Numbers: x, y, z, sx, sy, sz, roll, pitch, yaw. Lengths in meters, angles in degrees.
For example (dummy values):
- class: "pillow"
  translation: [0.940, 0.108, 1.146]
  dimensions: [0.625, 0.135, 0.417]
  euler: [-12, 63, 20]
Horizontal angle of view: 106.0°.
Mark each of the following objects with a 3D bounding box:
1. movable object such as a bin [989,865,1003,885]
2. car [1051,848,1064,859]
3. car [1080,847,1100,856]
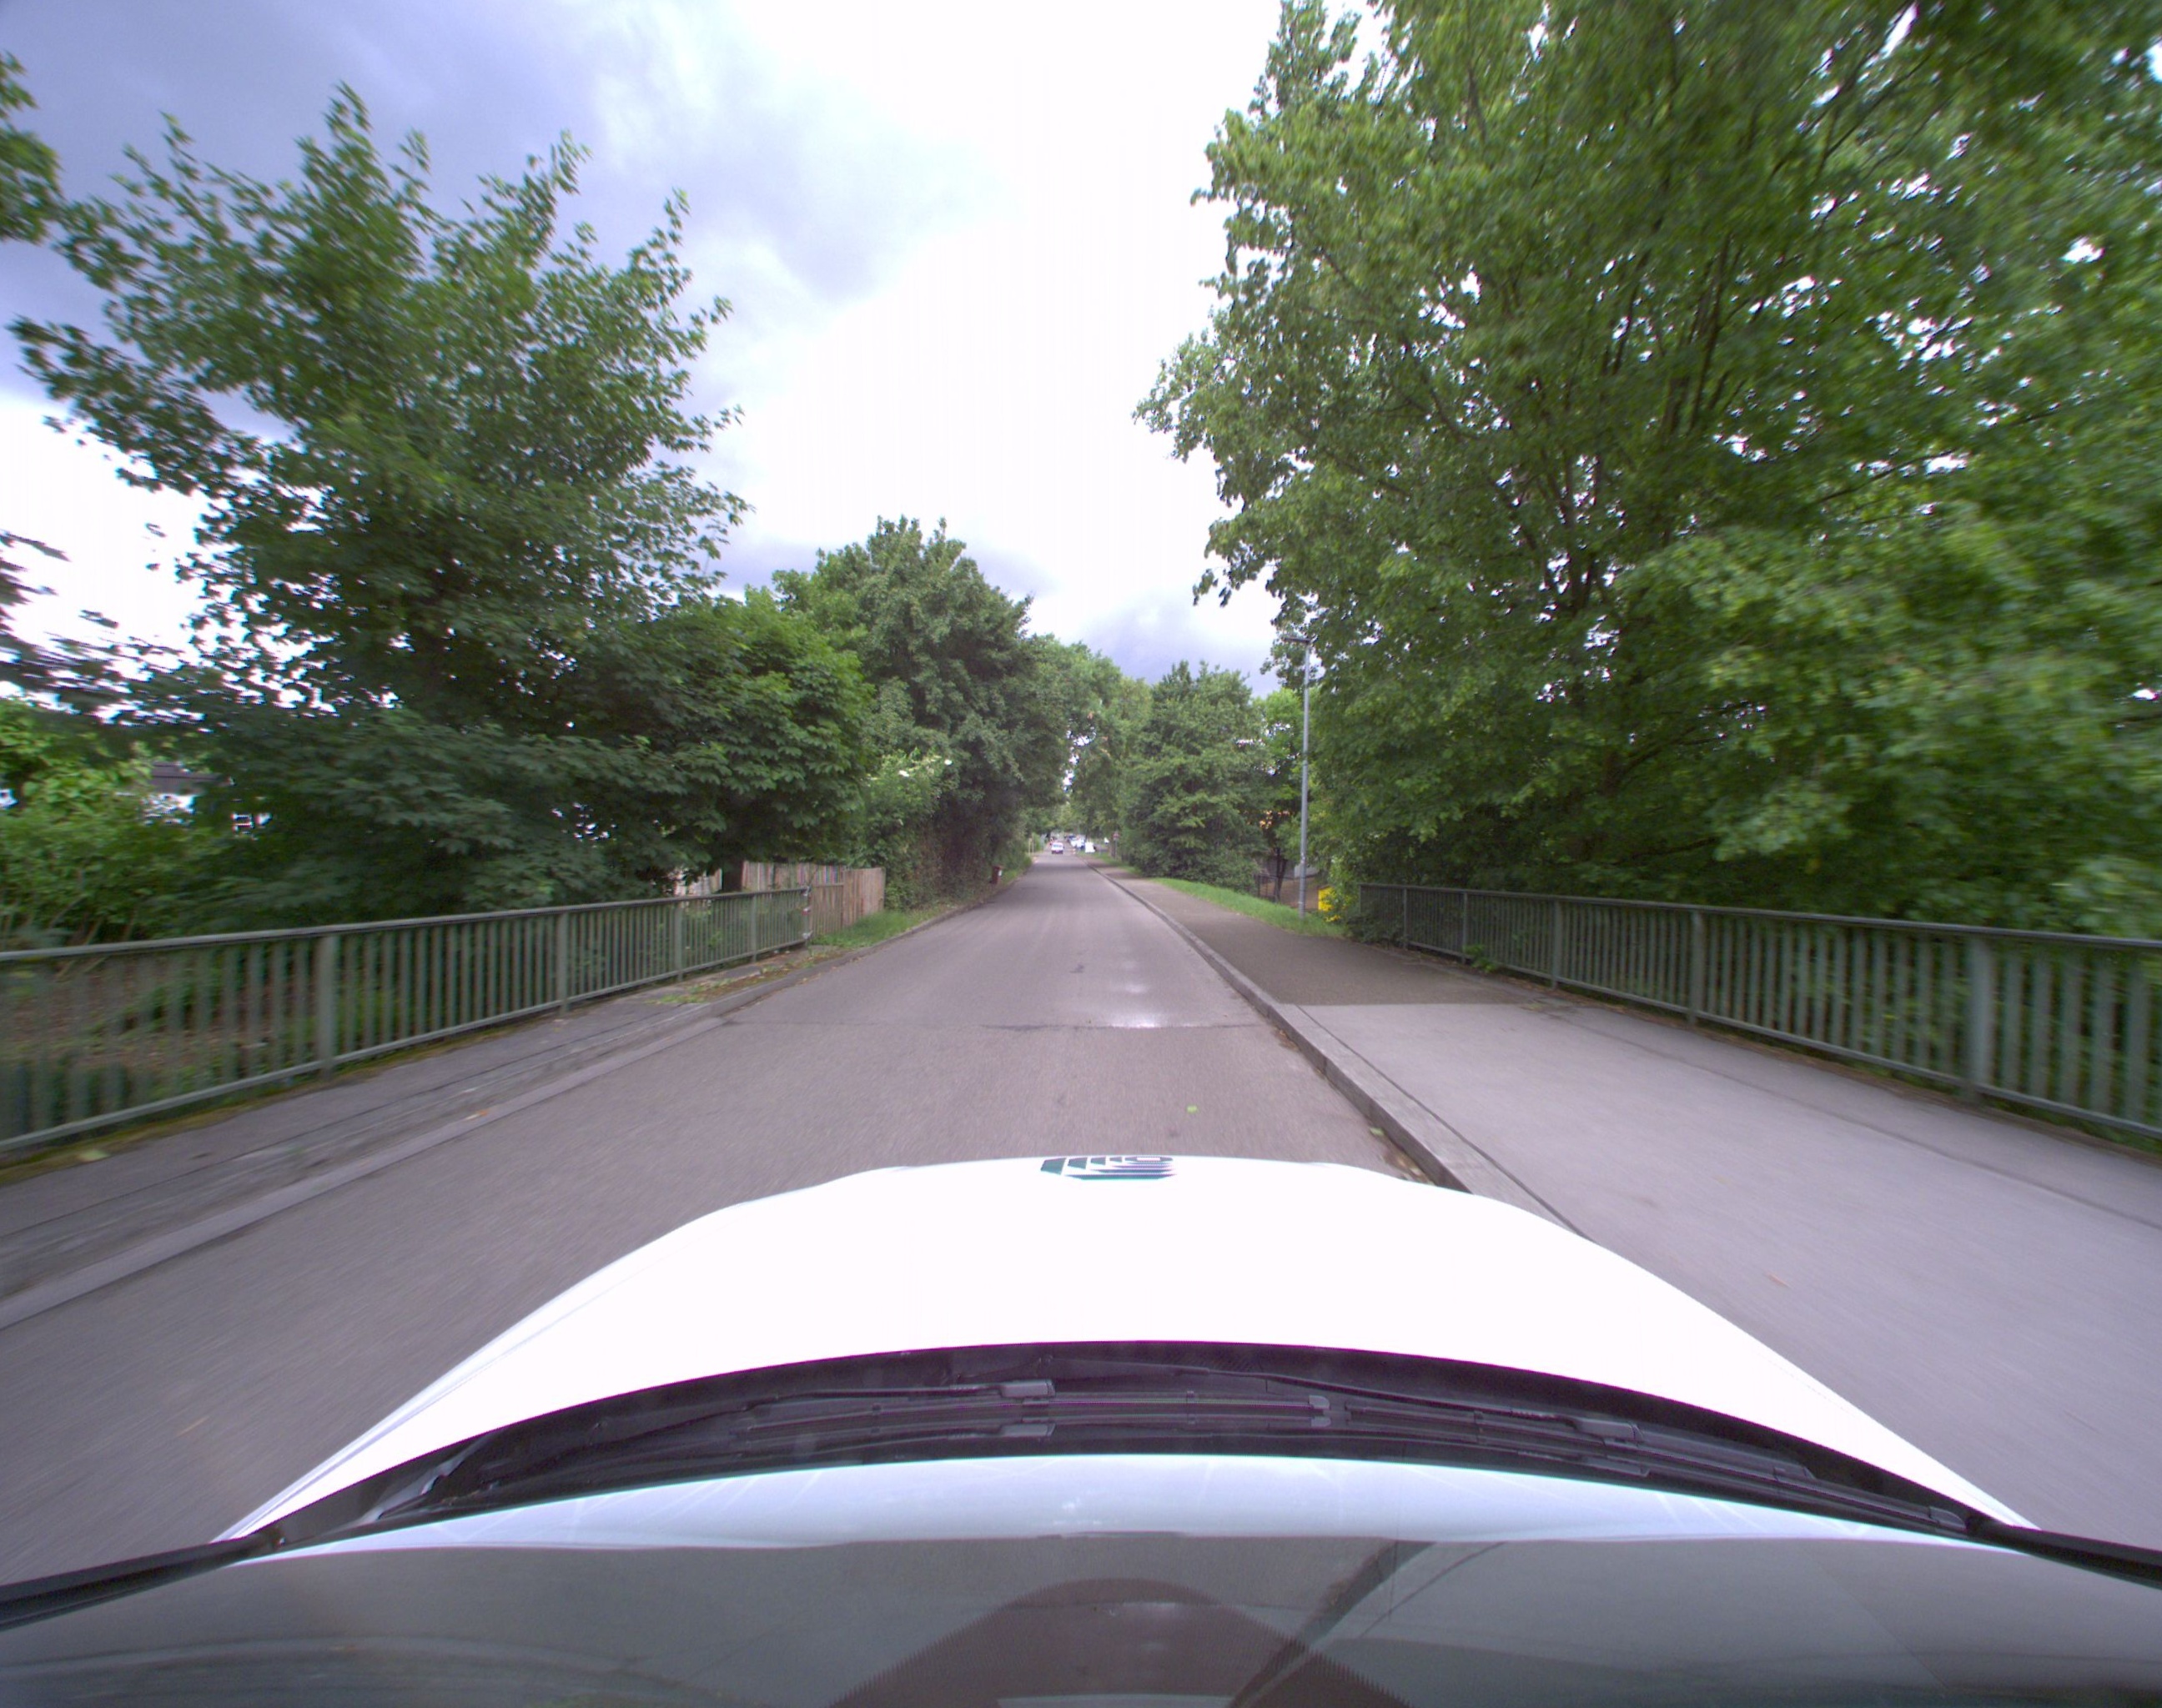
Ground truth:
- class: "movable object such as a bin"
  translation: [-4.076, 0.997, 38.996]
  dimensions: [0.588, 0.957, 0.470]
  euler: [1, -1, -1]
- class: "car"
  translation: [-3.846, -0.023, 131.466]
  dimensions: [1.987, 1.772, 3.999]
  euler: [1, -1, 0]
- class: "car"
  translation: [1.753, -0.495, 161.939]
  dimensions: [3.975, 1.772, 1.999]
  euler: [1, -1, -1]
